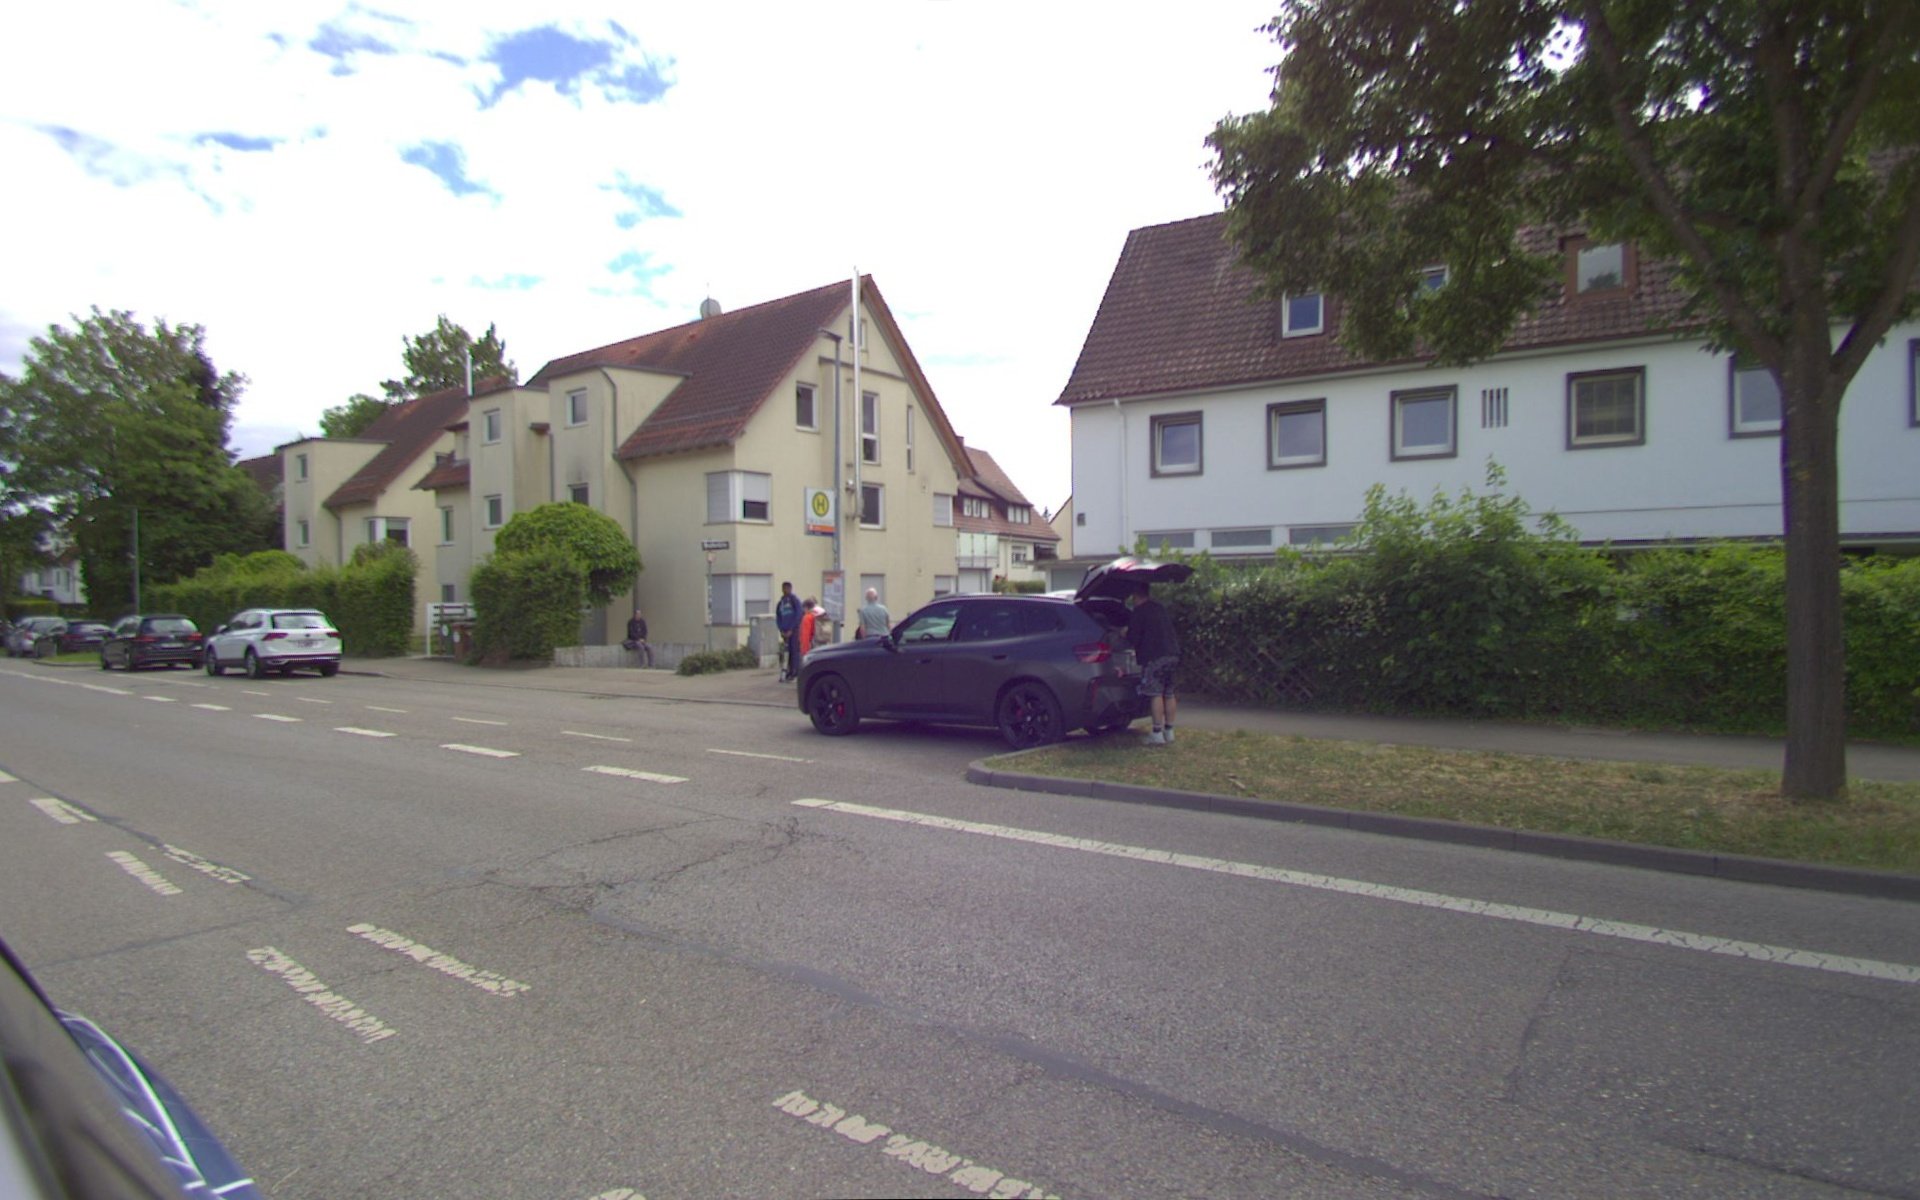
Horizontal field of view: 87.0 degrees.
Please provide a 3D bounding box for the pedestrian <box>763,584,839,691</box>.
[{"bbox_3d":[-2.647,0.610,16.907,0.878,1.675,0.781,-1,3,32],"label":"pedestrian"}]

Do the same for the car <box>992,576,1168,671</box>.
[{"bbox_3d":[2.392,0.377,19.291,1.785,1.493,3.957,-2,2,32],"label":"car"}]

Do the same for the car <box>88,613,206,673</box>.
[{"bbox_3d":[-23.201,1.197,28.827,4.266,1.563,1.661,-1,0,38],"label":"car"}]

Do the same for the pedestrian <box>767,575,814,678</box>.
[{"bbox_3d":[-3.057,0.471,18.230,0.671,1.820,0.499,-1,-1,39],"label":"pedestrian"}]

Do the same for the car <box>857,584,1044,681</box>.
[{"bbox_3d":[-0.026,0.527,19.430,2.022,1.565,4.495,-1,1,22],"label":"car"}]

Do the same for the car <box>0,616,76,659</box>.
[{"bbox_3d":[-37.058,1.466,40.630,3.905,1.625,1.701,-1,-1,39],"label":"car"}]

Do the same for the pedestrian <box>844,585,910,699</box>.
[{"bbox_3d":[-1.291,0.634,15.782,0.591,1.675,0.780,-1,3,37],"label":"pedestrian"}]

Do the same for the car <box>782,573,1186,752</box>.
[{"bbox_3d":[0.149,0.626,11.831,4.556,1.738,1.709,-1,0,36],"label":"car"}]

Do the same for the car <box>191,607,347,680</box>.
[{"bbox_3d":[-17.167,1.032,25.078,4.577,1.646,1.804,-1,-1,36],"label":"car"}]

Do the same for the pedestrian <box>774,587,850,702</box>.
[{"bbox_3d":[-2.276,0.668,15.642,0.752,1.675,0.781,-1,3,32],"label":"pedestrian"}]

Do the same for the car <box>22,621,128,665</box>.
[{"bbox_3d":[-32.630,1.551,37.275,4.881,1.496,1.975,-1,-1,36],"label":"car"}]

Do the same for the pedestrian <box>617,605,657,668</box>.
[{"bbox_3d":[-8.227,0.923,25.789,0.836,1.572,0.663,-2,-1,44],"label":"pedestrian"}]

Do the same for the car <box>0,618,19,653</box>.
[{"bbox_3d":[-47.910,1.743,49.403,5.030,1.659,2.075,-2,-1,37],"label":"car"}]

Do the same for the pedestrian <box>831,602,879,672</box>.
[{"bbox_3d":[-2.050,0.710,19.764,0.705,1.323,0.582,-1,-1,40],"label":"pedestrian"}]

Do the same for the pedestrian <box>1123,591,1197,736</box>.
[{"bbox_3d":[2.062,0.640,10.476,0.545,1.447,0.498,-1,-1,-20],"label":"pedestrian"}]
